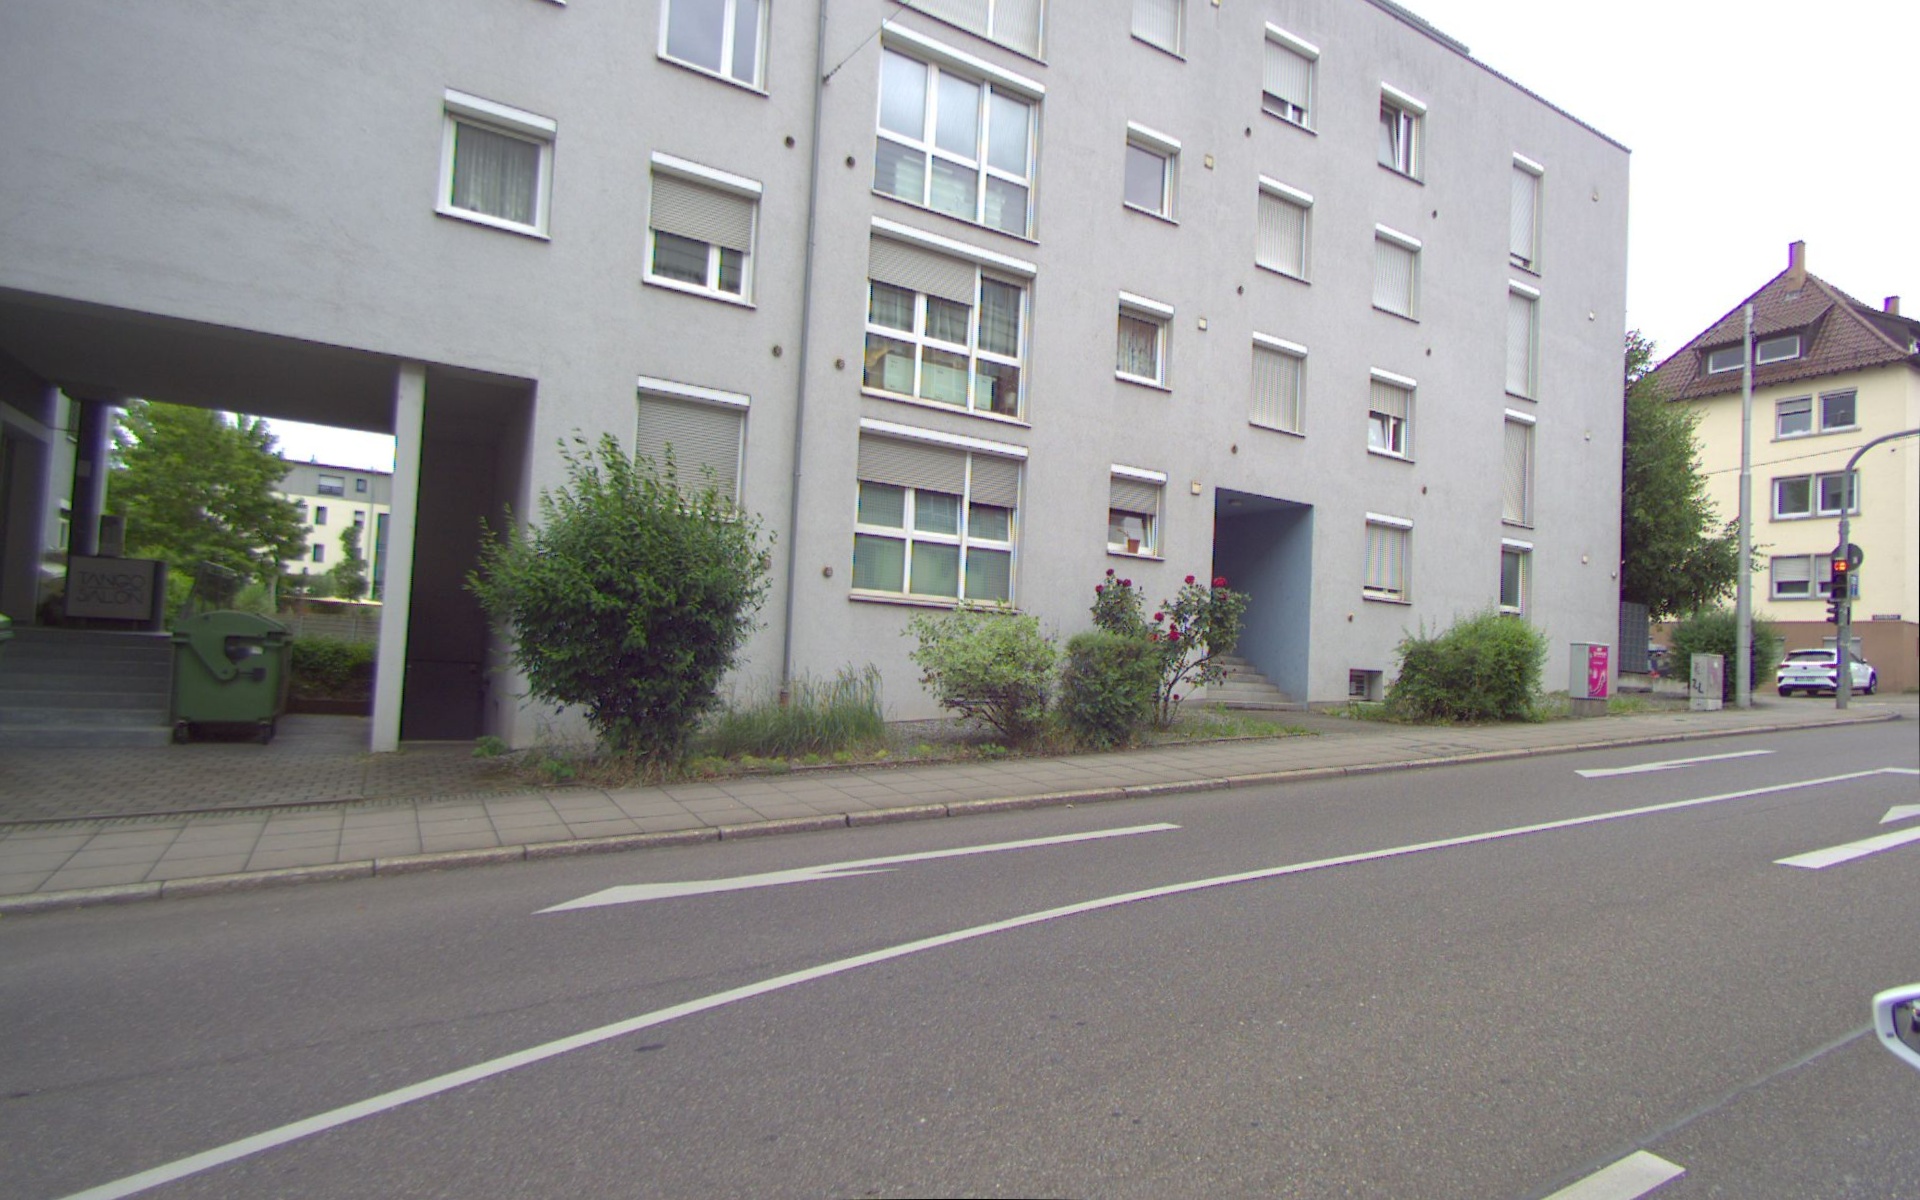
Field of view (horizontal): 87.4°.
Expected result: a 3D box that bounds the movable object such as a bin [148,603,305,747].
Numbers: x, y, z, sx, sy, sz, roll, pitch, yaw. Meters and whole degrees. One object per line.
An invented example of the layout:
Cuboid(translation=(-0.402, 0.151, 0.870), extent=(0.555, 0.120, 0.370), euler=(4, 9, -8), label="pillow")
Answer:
Cuboid(translation=(-8.282, 0.848, 11.433), extent=(1.177, 1.497, 1.139), euler=(6, -4, -29), label="movable object such as a bin")

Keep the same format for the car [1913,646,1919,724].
Cuboid(translation=(19.522, 1.543, 18.624), extent=(3.749, 1.418, 1.666), euler=(1, -4, -30), label="car")

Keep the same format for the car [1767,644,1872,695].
Cuboid(translation=(28.433, 2.275, 33.220), extent=(3.727, 1.575, 1.681), euler=(1, -4, -34), label="car")

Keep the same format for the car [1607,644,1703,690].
Cuboid(translation=(25.946, 2.482, 37.455), extent=(3.727, 1.629, 1.681), euler=(1, -4, -34), label="car")

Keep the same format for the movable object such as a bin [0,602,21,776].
Cuboid(translation=(-8.395, 0.757, 8.146), extent=(0.774, 1.475, 1.260), euler=(2, 1, -26), label="movable object such as a bin")
